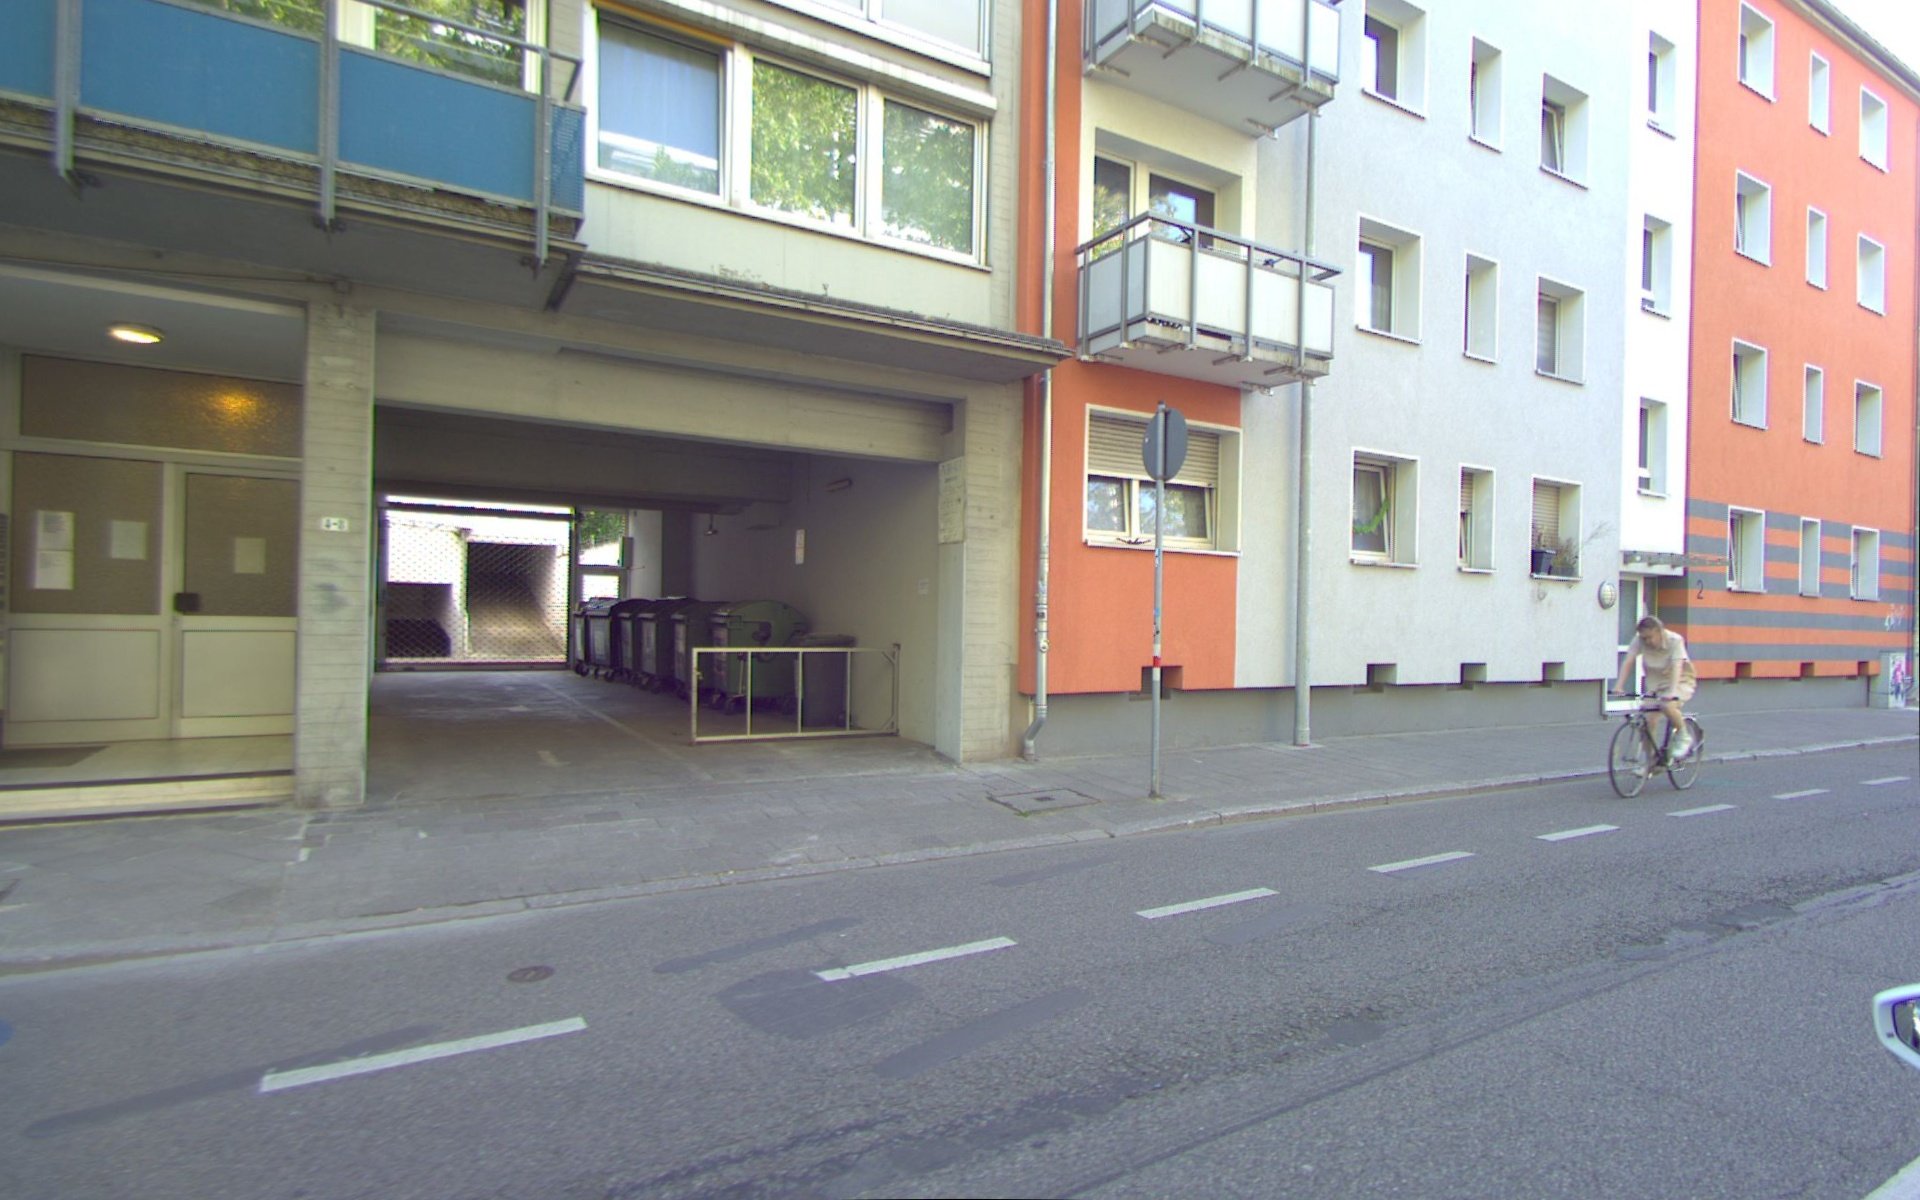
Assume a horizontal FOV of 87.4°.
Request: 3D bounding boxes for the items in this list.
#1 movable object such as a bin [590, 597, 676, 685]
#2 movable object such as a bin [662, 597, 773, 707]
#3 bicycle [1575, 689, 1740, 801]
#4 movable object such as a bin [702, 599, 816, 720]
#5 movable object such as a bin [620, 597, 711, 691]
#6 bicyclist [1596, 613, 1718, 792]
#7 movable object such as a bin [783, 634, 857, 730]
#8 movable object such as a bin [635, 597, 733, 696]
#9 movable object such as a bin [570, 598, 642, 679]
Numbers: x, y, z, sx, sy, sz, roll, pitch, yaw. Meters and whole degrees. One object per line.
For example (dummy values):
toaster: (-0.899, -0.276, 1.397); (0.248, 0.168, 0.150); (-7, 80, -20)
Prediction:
movable object such as a bin: (-5.881, 0.719, 18.019); (1.264, 1.506, 1.155); (2, 0, -28)
movable object such as a bin: (-3.514, 0.728, 14.493); (1.264, 1.493, 1.265); (2, -1, -28)
bicycle: (6.629, 1.335, 9.517); (1.846, 0.903, 0.545); (2, 0, -31)
movable object such as a bin: (-2.647, 0.746, 13.140); (1.128, 1.484, 1.255); (2, 0, -28)
movable object such as a bin: (-5.016, 0.726, 17.077); (1.264, 1.514, 1.155); (2, 0, -28)
bicyclist: (6.558, 0.931, 9.455); (0.797, 1.579, 0.645); (2, 0, -31)
movable object such as a bin: (-1.647, 0.949, 11.788); (0.694, 1.061, 0.567); (2, 0, -28)
movable object such as a bin: (-4.412, 0.722, 16.029); (1.264, 1.506, 1.155); (2, 0, -28)
movable object such as a bin: (-6.801, 0.732, 19.274); (1.128, 1.484, 1.129); (2, 0, -28)
